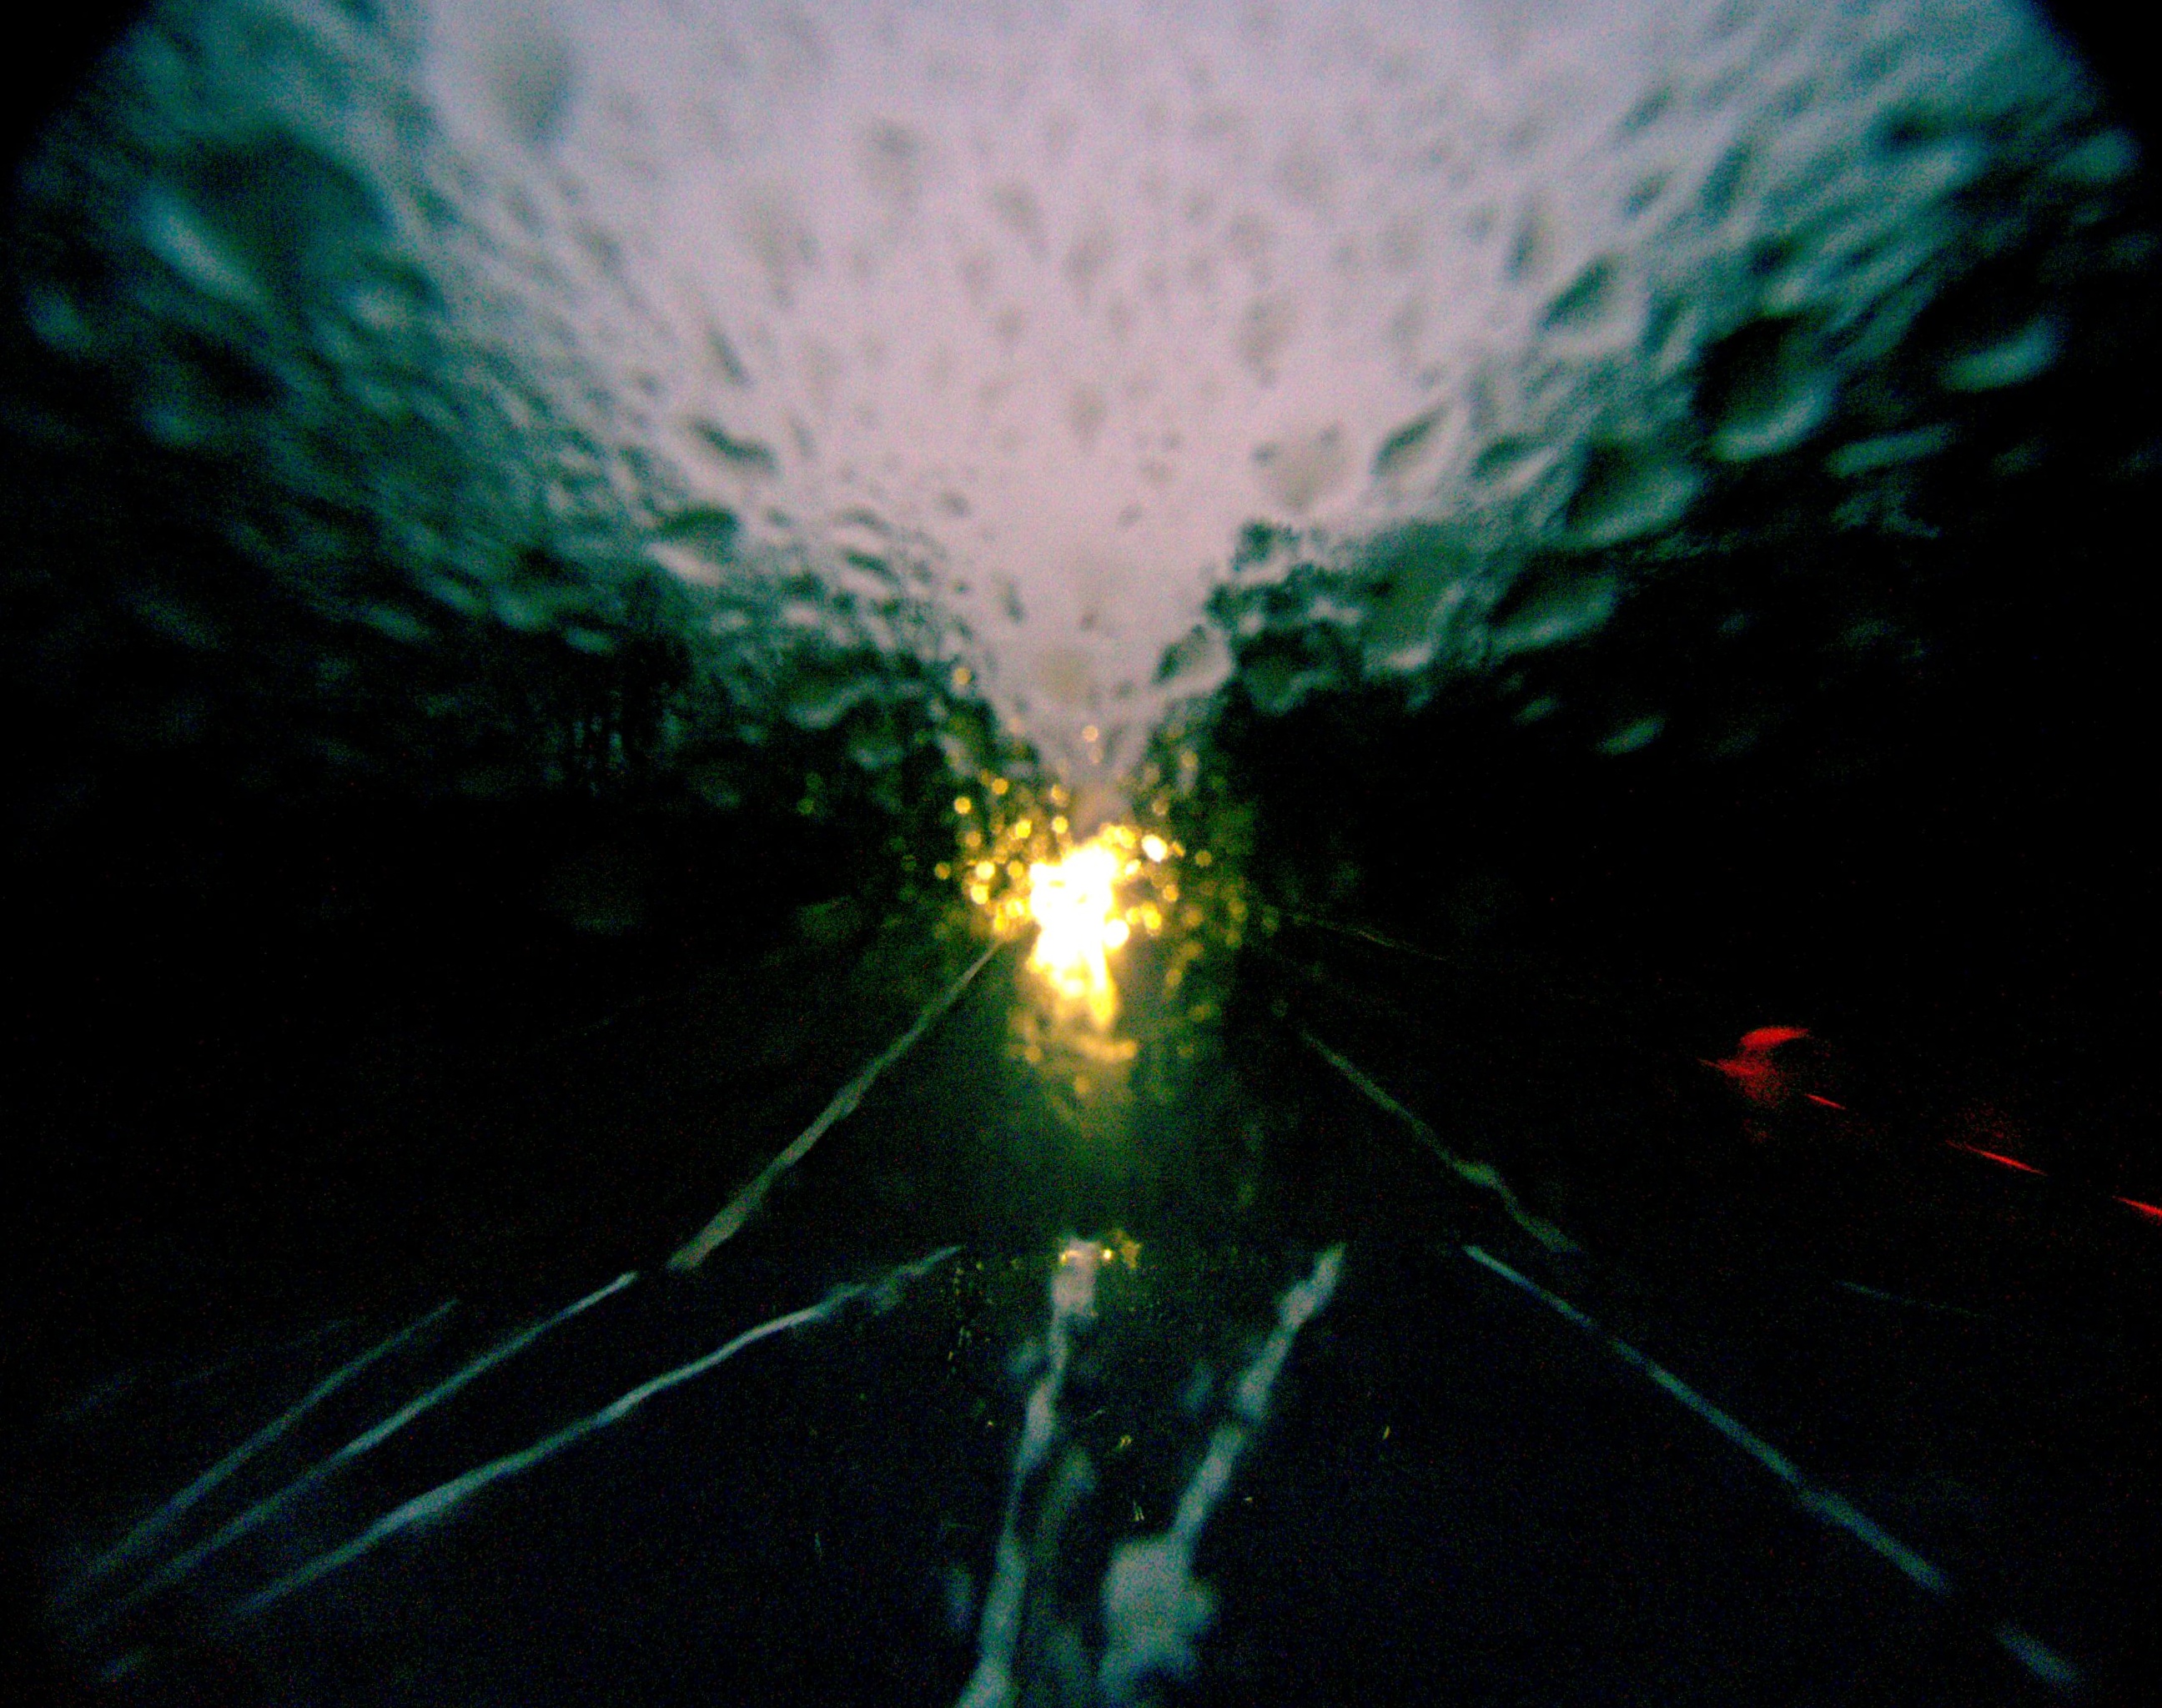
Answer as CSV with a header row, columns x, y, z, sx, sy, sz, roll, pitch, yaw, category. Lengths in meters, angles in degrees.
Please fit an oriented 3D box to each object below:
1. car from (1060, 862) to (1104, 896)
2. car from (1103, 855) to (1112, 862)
x,y,z,sx,sy,sz,roll,pitch,yaw,category
0.093,1.097,34.758,1.845,1.390,4.000,-1,0,1,car
5.579,1.013,160.510,1.708,1.355,4.376,-4,-1,-1,car
